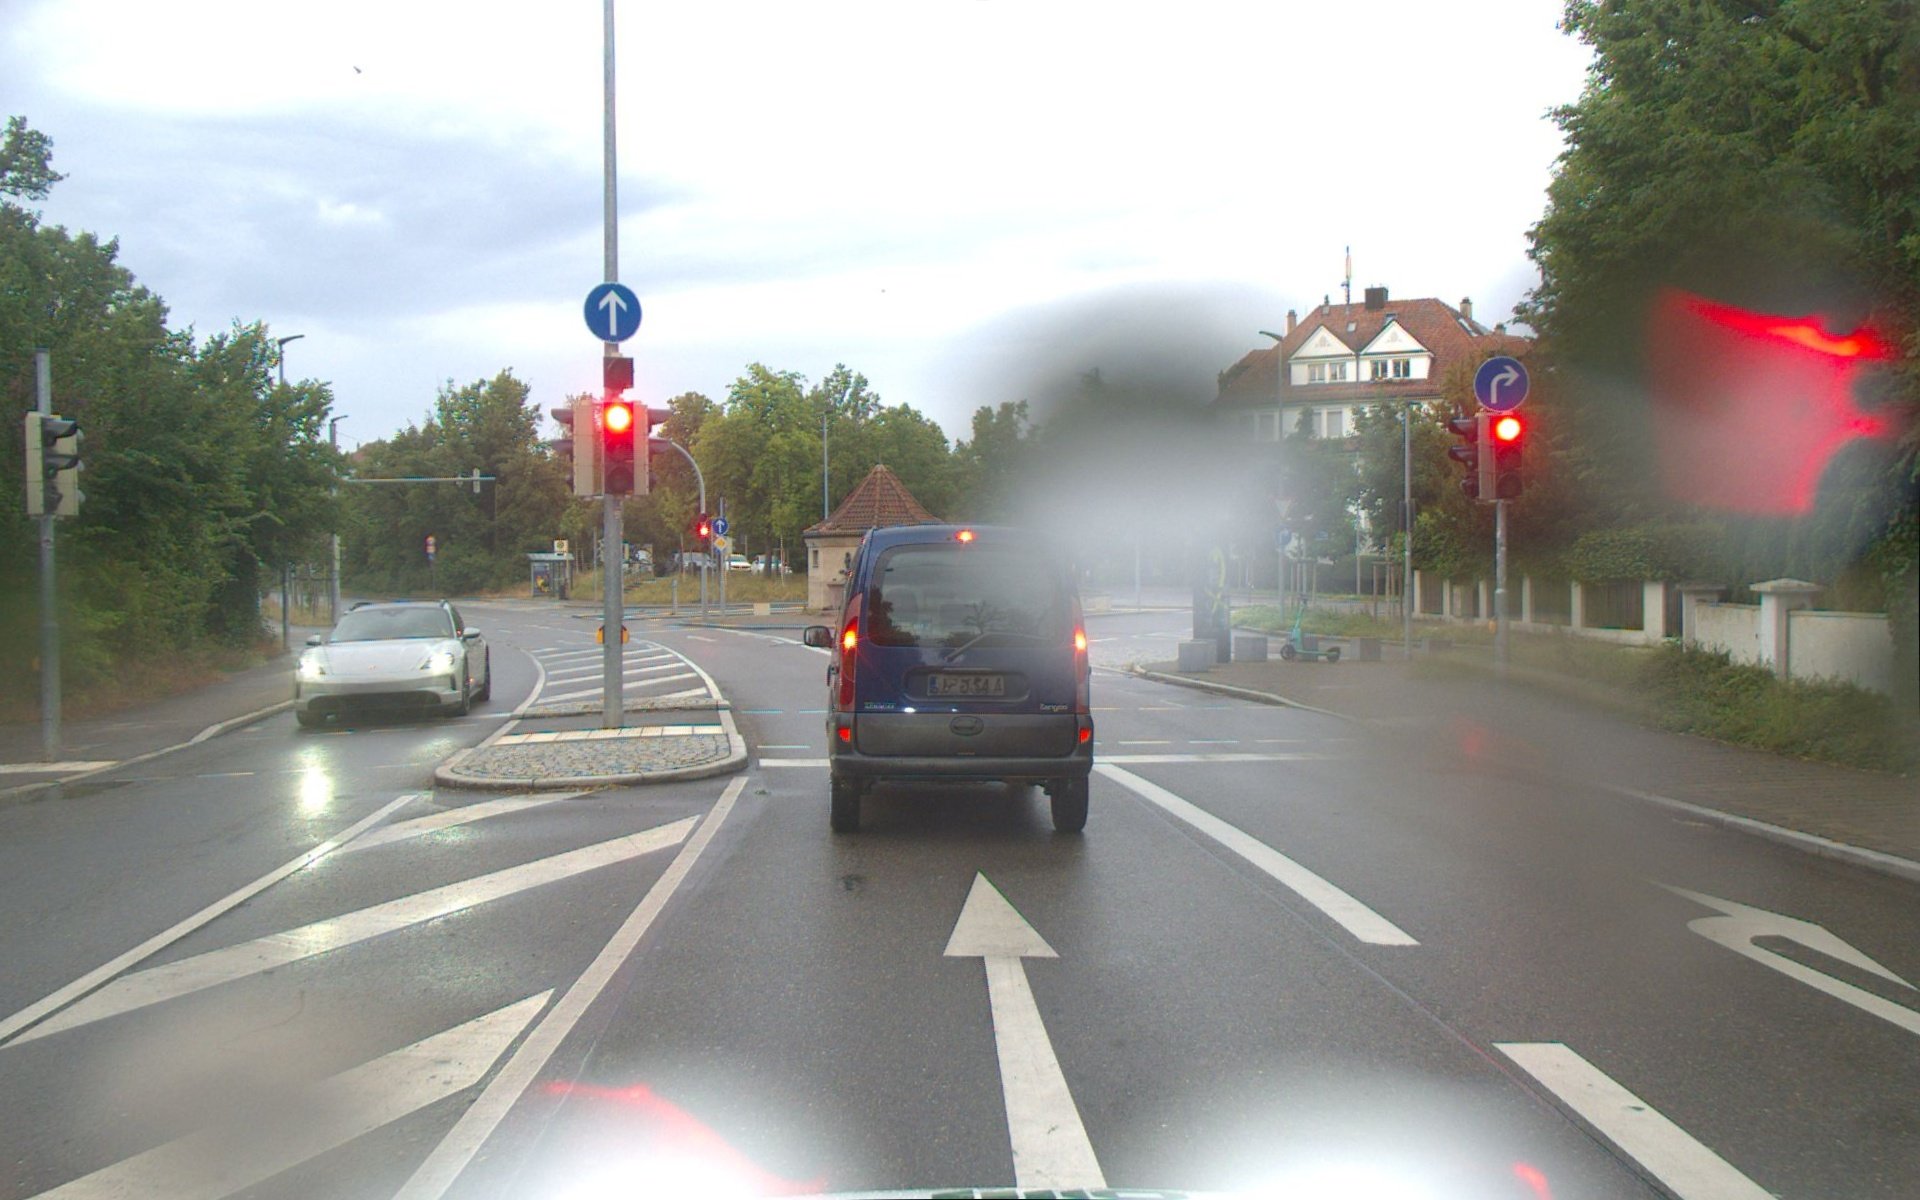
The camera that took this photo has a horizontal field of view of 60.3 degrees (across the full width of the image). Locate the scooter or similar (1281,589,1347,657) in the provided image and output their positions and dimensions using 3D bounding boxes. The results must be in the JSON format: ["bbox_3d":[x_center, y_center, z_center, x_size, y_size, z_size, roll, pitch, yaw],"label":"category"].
[{"bbox_3d":[6.592,0.430,30.785,1.125,1.240,0.405,0,-1,-2],"label":"scooter or similar"}]

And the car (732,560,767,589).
[{"bbox_3d":[-14.288,-1.700,112.230,1.953,1.844,3.999,0,0,-1],"label":"car"}]

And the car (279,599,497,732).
[{"bbox_3d":[-7.106,0.735,21.012,1.958,1.334,4.348,-3,1,-11],"label":"car"}]

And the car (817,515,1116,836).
[{"bbox_3d":[-0.061,0.402,11.418,1.697,1.817,3.998,0,1,-3],"label":"car"}]
